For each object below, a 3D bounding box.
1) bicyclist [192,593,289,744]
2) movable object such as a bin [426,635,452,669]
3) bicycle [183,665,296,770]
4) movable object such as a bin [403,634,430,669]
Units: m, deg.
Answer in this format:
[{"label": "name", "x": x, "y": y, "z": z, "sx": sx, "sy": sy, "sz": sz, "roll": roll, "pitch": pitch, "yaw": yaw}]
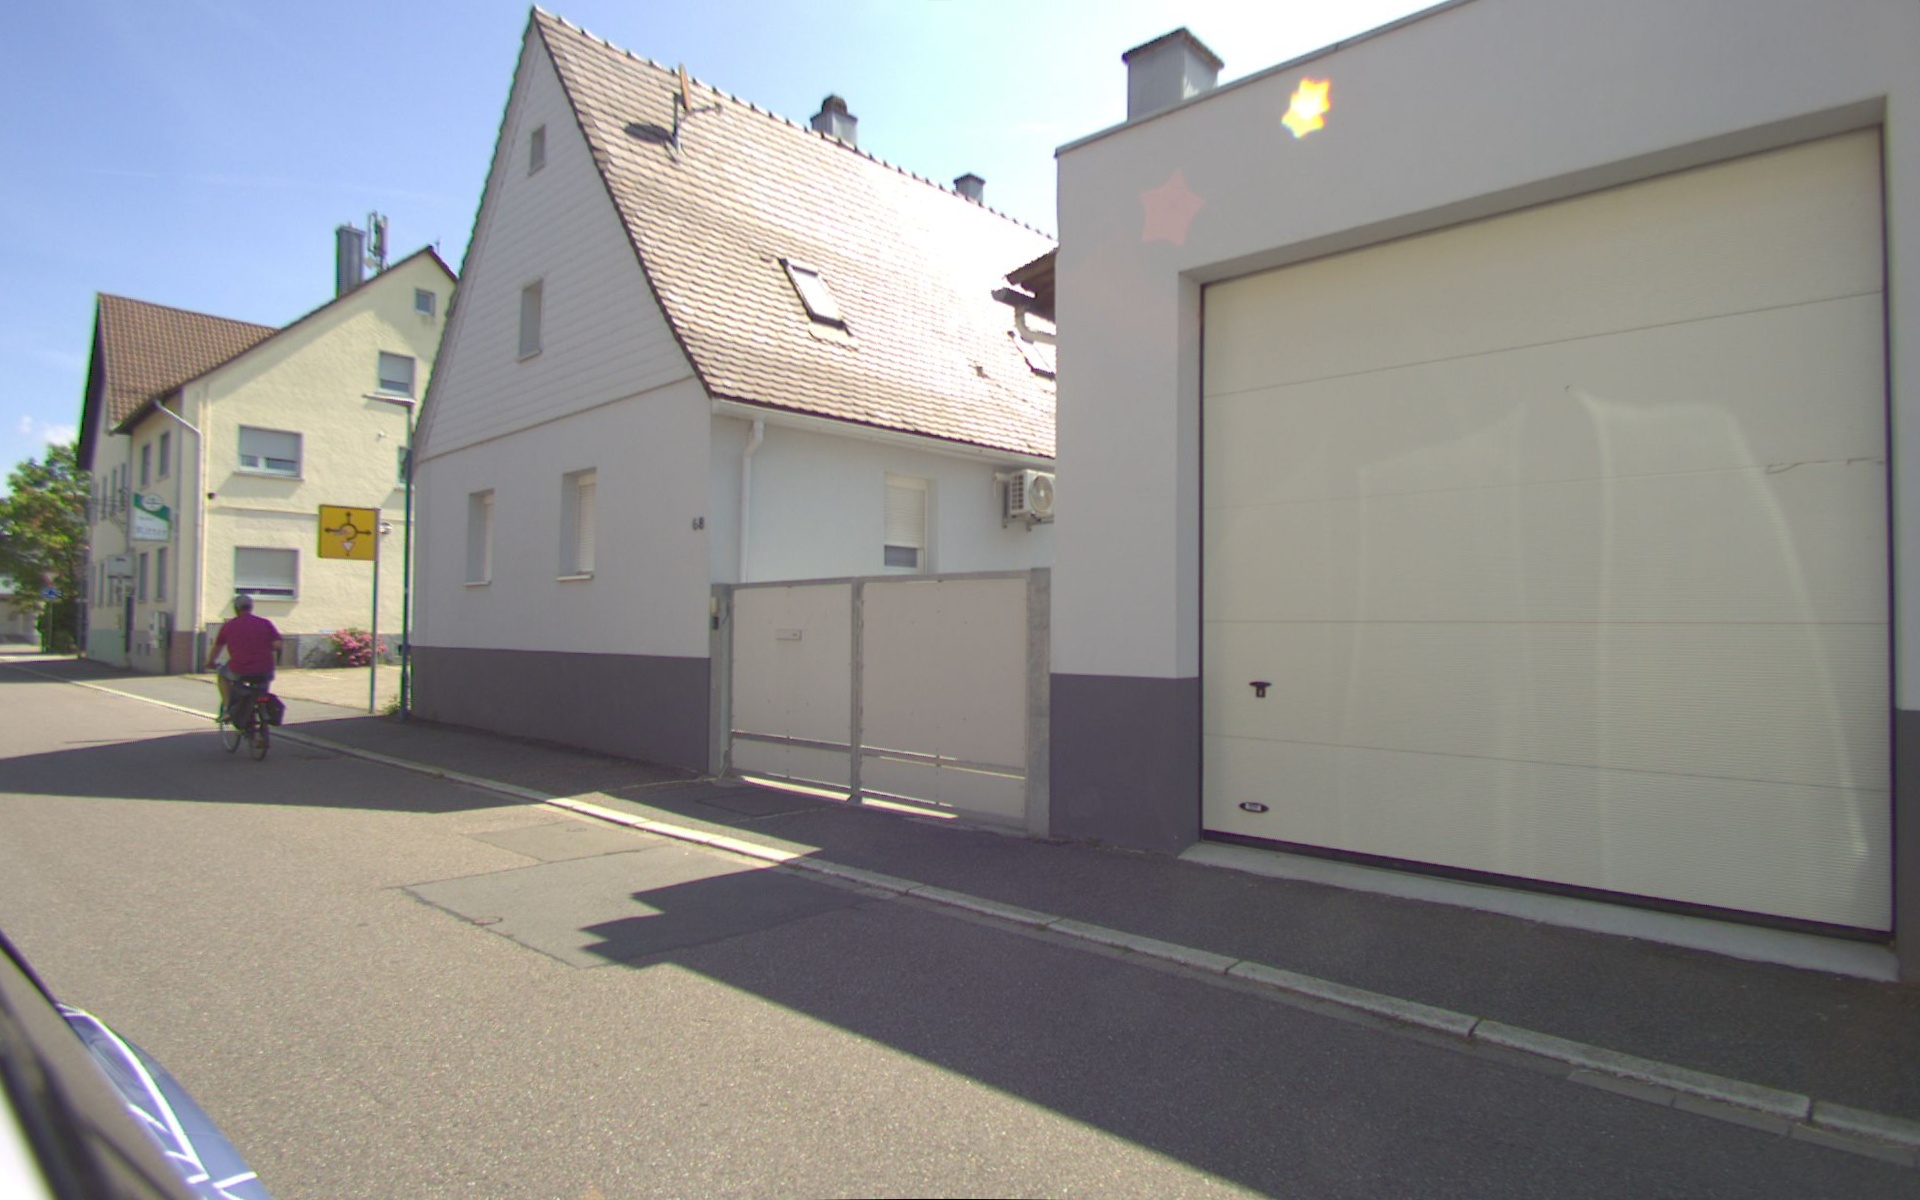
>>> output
[{"label": "bicyclist", "x": -8.298, "y": 0.763, "z": 11.667, "sx": 0.957, "sy": 1.649, "sz": 0.738, "roll": -2, "pitch": -3, "yaw": 45}, {"label": "movable object such as a bin", "x": -17.096, "y": 1.695, "z": 33.192, "sx": 0.680, "sy": 1.080, "sz": 0.571, "roll": -2, "pitch": -2, "yaw": 43}, {"label": "bicycle", "x": -8.343, "y": 1.308, "z": 11.685, "sx": 0.734, "sy": 1.055, "sz": 1.941, "roll": 2, "pitch": -3, "yaw": -45}, {"label": "movable object such as a bin", "x": -17.529, "y": 1.653, "z": 32.639, "sx": 0.680, "sy": 1.080, "sz": 0.571, "roll": -2, "pitch": -2, "yaw": 43}]
